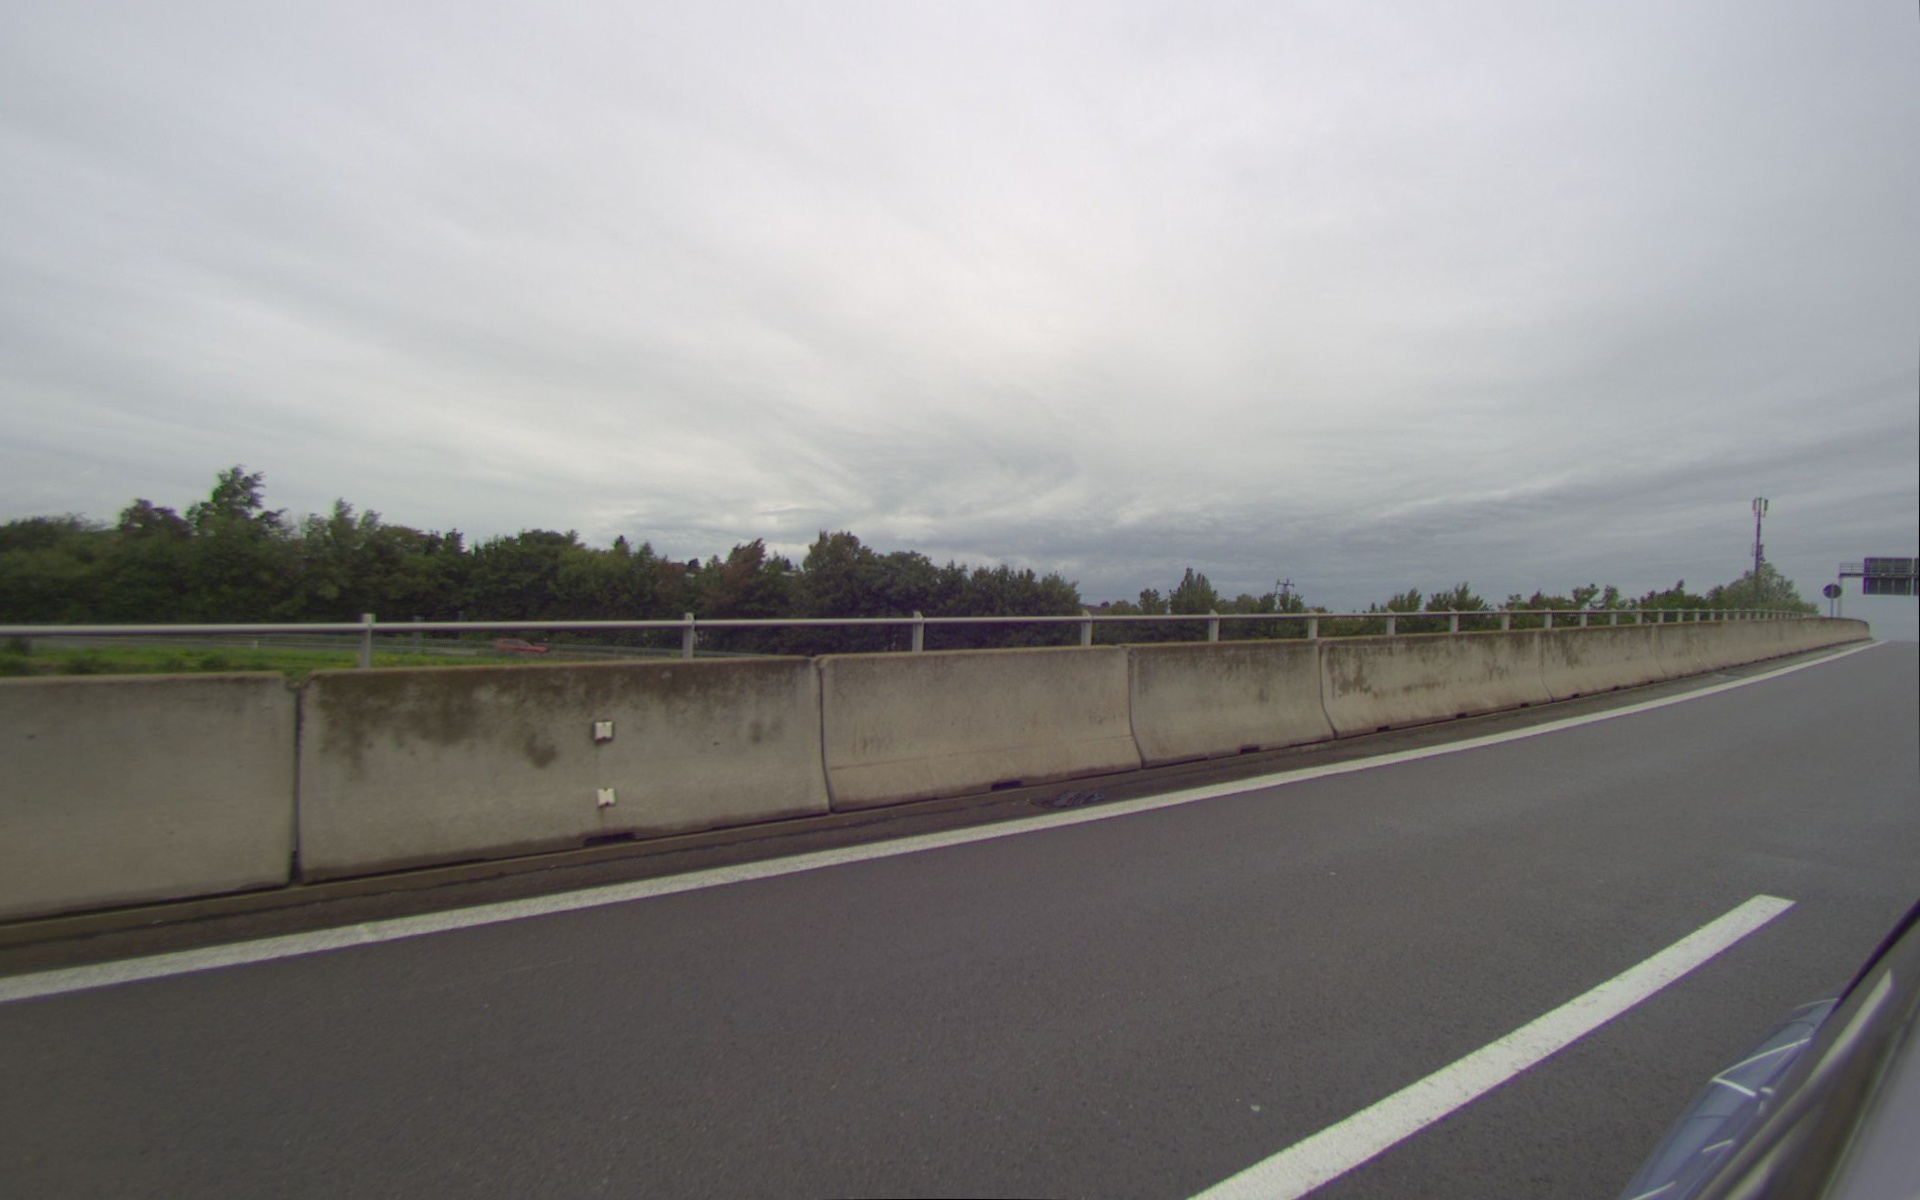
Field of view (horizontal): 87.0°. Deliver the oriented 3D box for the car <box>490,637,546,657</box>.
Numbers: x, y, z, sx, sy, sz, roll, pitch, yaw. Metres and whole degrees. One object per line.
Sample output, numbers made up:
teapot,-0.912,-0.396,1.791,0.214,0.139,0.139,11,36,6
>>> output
car,-40.856,4.329,93.623,4.434,1.622,1.719,-2,1,-5
